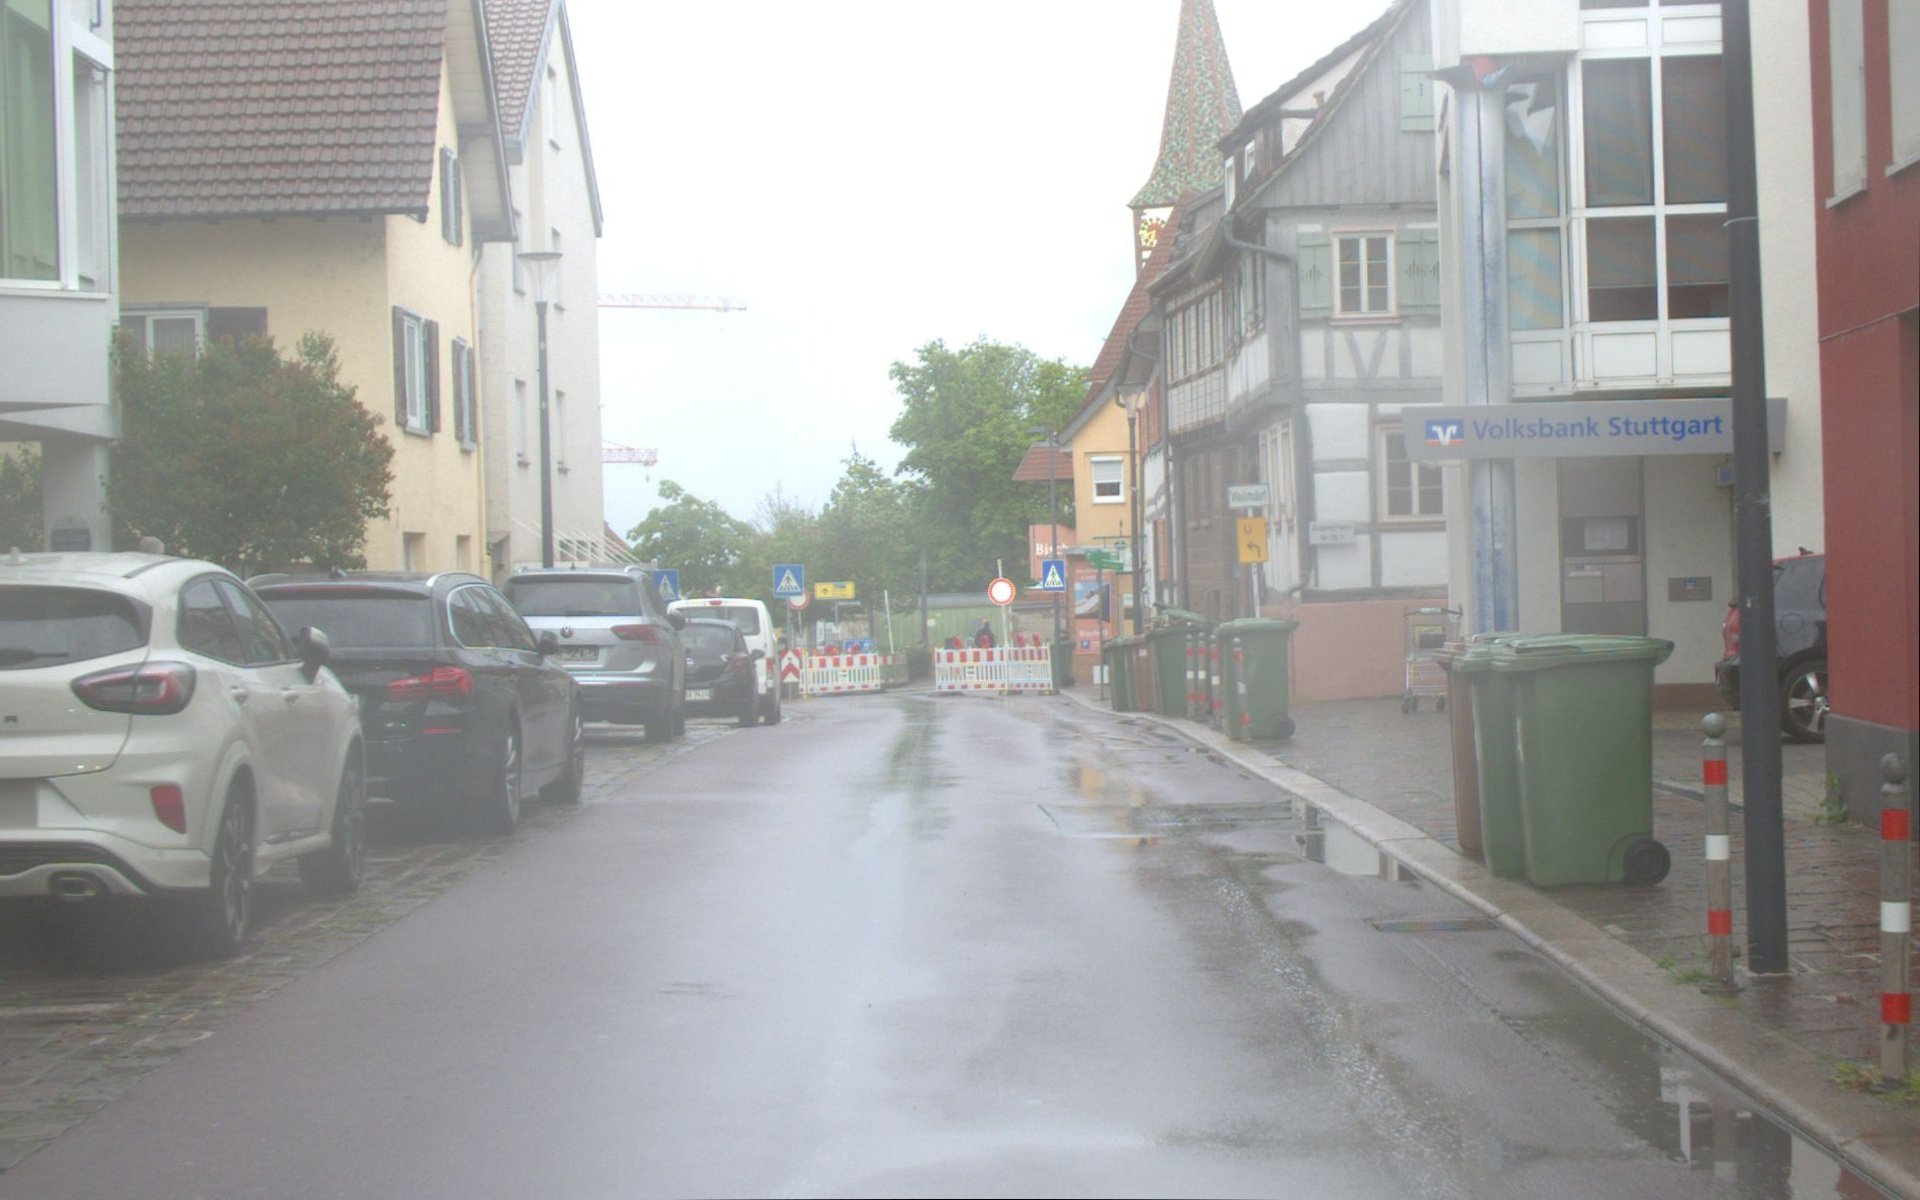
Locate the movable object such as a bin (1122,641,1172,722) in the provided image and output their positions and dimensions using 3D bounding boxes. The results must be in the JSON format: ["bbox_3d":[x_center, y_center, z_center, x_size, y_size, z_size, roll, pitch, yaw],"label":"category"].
[{"bbox_3d":[2.698,1.175,49.667,0.638,1.143,0.632,-1,-2,-2],"label":"movable object such as a bin"}]

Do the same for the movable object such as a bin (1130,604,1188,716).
[{"bbox_3d":[2.333,0.702,40.263,0.638,1.286,0.632,-1,-2,5],"label":"movable object such as a bin"}]

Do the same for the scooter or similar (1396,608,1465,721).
[{"bbox_3d":[4.893,0.674,35.805,0.665,1.142,1.445,-1,-2,7],"label":"scooter or similar"}]

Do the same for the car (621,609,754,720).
[{"bbox_3d":[-3.607,0.879,45.962,1.680,1.384,3.825,-1,-2,-3],"label":"car"}]

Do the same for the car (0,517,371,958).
[{"bbox_3d":[-3.642,0.546,14.095,1.791,1.546,4.000,0,-2,0],"label":"car"}]

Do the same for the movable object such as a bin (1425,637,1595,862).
[{"bbox_3d":[2.722,0.732,17.070,0.729,1.077,0.646,-1,-1,2],"label":"movable object such as a bin"}]

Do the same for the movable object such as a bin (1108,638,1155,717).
[{"bbox_3d":[2.520,1.136,50.351,0.638,1.143,0.603,-1,-2,5],"label":"movable object such as a bin"}]

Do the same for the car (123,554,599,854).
[{"bbox_3d":[-3.372,0.544,20.292,1.830,1.493,4.763,-2,0,1],"label":"car"}]

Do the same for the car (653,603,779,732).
[{"bbox_3d":[-3.637,1.037,51.742,1.723,1.819,4.428,-1,-2,-2],"label":"car"}]

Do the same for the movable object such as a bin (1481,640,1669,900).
[{"bbox_3d":[2.657,0.724,14.907,0.676,1.083,0.718,-1,-1,2],"label":"movable object such as a bin"}]

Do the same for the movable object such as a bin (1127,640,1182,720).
[{"bbox_3d":[2.692,1.106,47.653,0.678,1.093,0.650,-1,-1,-4],"label":"movable object such as a bin"}]

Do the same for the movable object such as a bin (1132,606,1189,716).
[{"bbox_3d":[2.393,0.727,40.968,0.638,1.286,0.632,-1,-2,5],"label":"movable object such as a bin"}]

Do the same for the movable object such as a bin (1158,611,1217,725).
[{"bbox_3d":[2.619,0.782,39.529,0.638,1.286,0.632,-1,-2,5],"label":"movable object such as a bin"}]

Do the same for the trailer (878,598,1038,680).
[{"bbox_3d":[-0.094,1.486,129.441,5.780,2.938,2.000,-1,-2,-5],"label":"trailer"}]

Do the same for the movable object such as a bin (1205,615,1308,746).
[{"bbox_3d":[2.634,0.720,30.621,0.804,1.127,0.862,-1,-2,-1],"label":"movable object such as a bin"}]

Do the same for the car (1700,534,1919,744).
[{"bbox_3d":[7.831,0.260,26.637,3.989,1.509,1.910,-3,-2,11],"label":"car"}]

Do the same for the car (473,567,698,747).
[{"bbox_3d":[-3.506,0.573,32.884,1.779,1.563,4.408,-1,-2,-2],"label":"car"}]

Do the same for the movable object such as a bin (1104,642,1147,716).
[{"bbox_3d":[2.566,1.226,53.247,0.609,1.124,0.599,-1,-2,0],"label":"movable object such as a bin"}]

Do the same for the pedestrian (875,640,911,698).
[{"bbox_3d":[-2.040,2.106,104.598,0.990,1.753,0.852,-1,-2,-6],"label":"pedestrian"}]

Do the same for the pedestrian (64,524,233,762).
[{"bbox_3d":[-6.312,0.330,26.807,1.035,1.800,1.116,-1,0,0],"label":"pedestrian"}]

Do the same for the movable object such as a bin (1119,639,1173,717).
[{"bbox_3d":[2.652,1.110,49.029,0.669,1.078,0.588,-2,-2,-2],"label":"movable object such as a bin"}]

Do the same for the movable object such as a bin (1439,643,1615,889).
[{"bbox_3d":[2.573,0.744,15.671,0.676,1.080,0.698,-1,-1,2],"label":"movable object such as a bin"}]

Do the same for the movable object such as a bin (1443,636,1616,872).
[{"bbox_3d":[2.712,0.726,16.409,0.710,1.091,0.614,-1,-1,2],"label":"movable object such as a bin"}]
